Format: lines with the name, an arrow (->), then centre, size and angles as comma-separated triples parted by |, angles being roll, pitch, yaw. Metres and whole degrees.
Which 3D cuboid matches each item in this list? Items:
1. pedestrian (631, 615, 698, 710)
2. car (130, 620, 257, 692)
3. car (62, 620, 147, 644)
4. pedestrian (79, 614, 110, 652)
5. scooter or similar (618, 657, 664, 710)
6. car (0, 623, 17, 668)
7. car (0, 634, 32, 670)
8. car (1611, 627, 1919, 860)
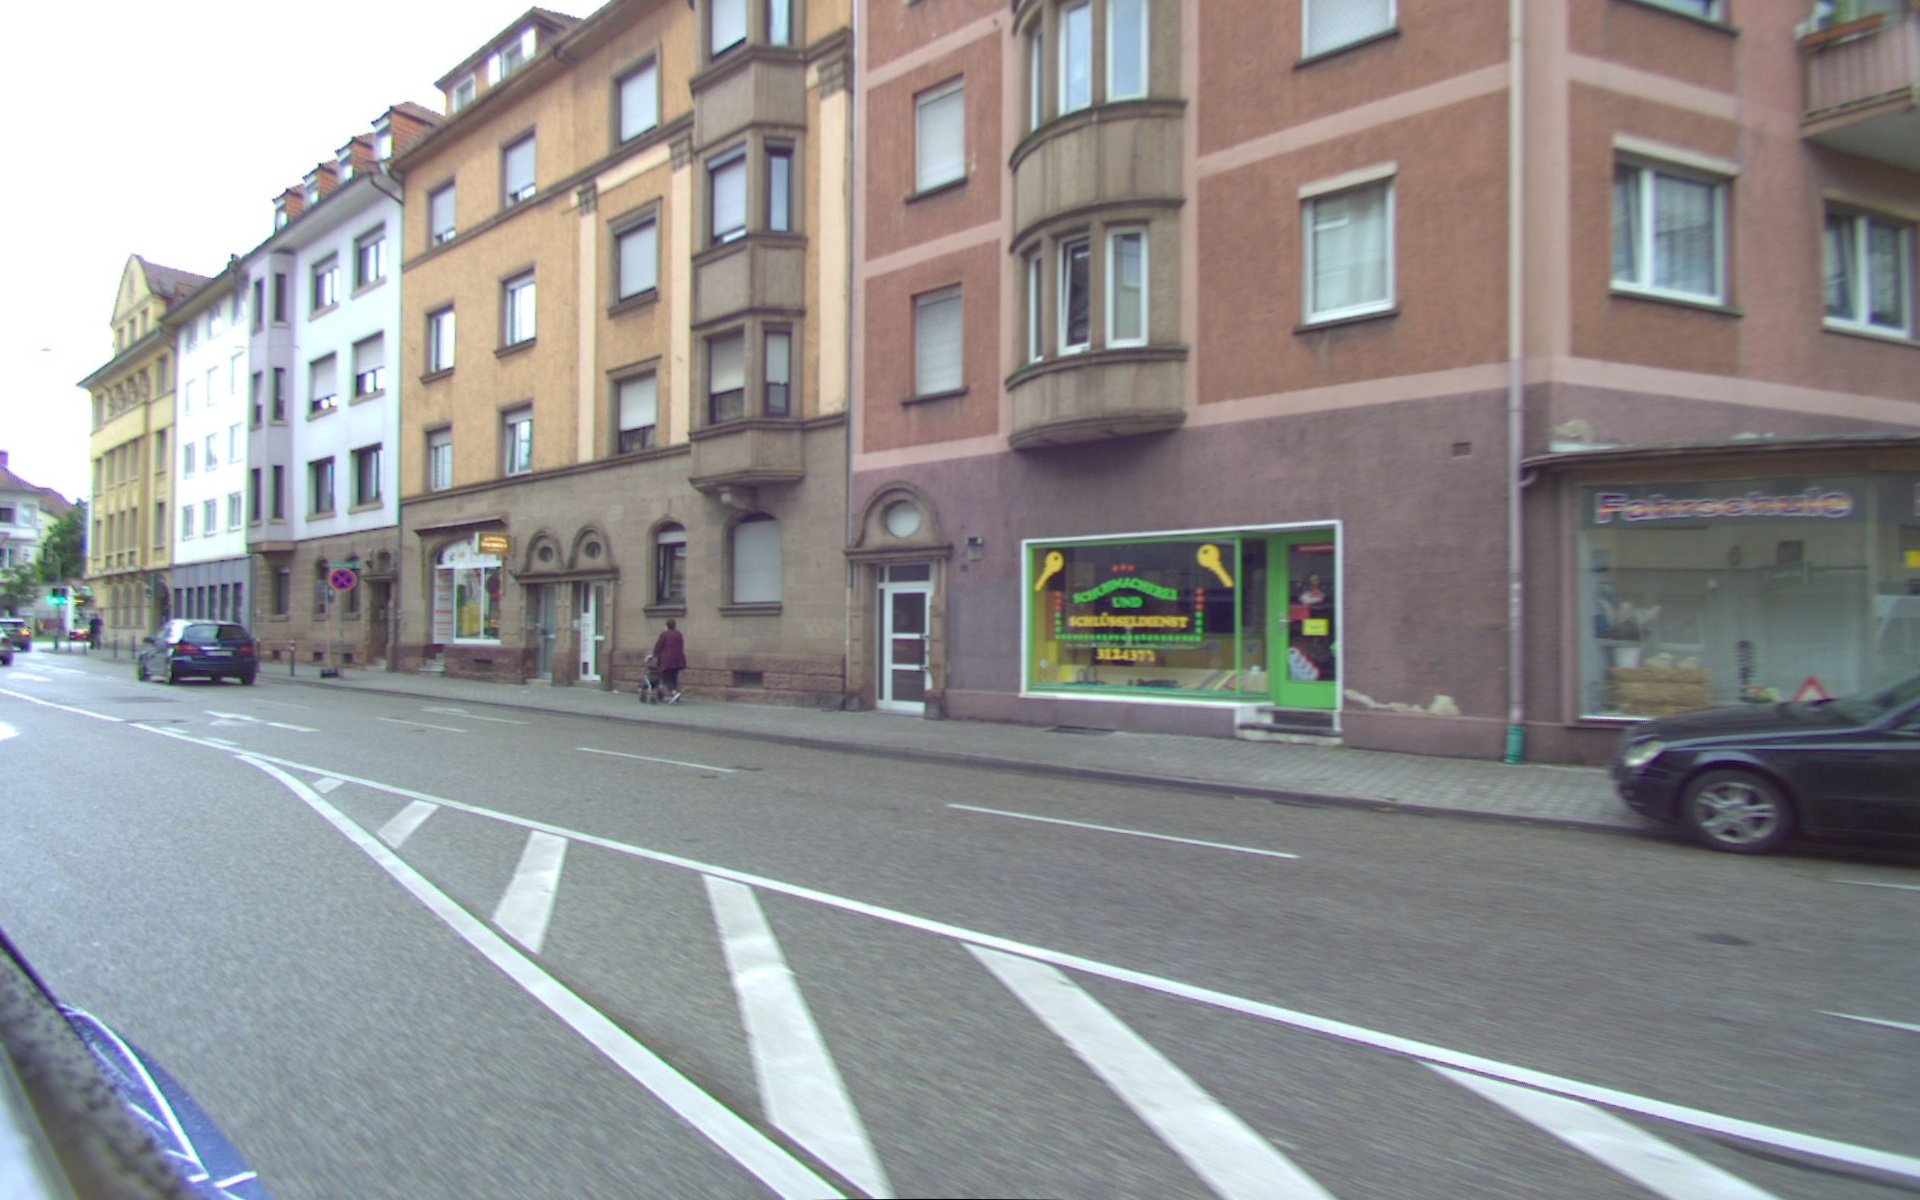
pedestrian -> -5.464, 1.132, 18.747 | 0.849, 1.691, 0.838 | 0, 1, 26
car -> -19.653, 1.378, 25.889 | 4.305, 1.664, 1.736 | -1, -2, 41
car -> -58.780, 2.205, 69.608 | 2.009, 1.529, 4.011 | 0, -2, 20
pedestrian -> -42.142, 1.615, 49.292 | 1.031, 1.784, 0.885 | 0, 2, 37
scooter or similar -> -6.004, 1.563, 19.038 | 0.478, 0.932, 0.708 | 0, 0, 26
car -> -33.535, 1.491, 34.081 | 4.554, 1.481, 1.924 | 0, -2, 38
car -> -46.396, 2.483, 48.824 | 4.336, 1.607, 1.960 | 0, -2, 42
car -> 7.289, 0.933, 6.770 | 4.786, 1.408, 1.832 | -1, 1, 38
